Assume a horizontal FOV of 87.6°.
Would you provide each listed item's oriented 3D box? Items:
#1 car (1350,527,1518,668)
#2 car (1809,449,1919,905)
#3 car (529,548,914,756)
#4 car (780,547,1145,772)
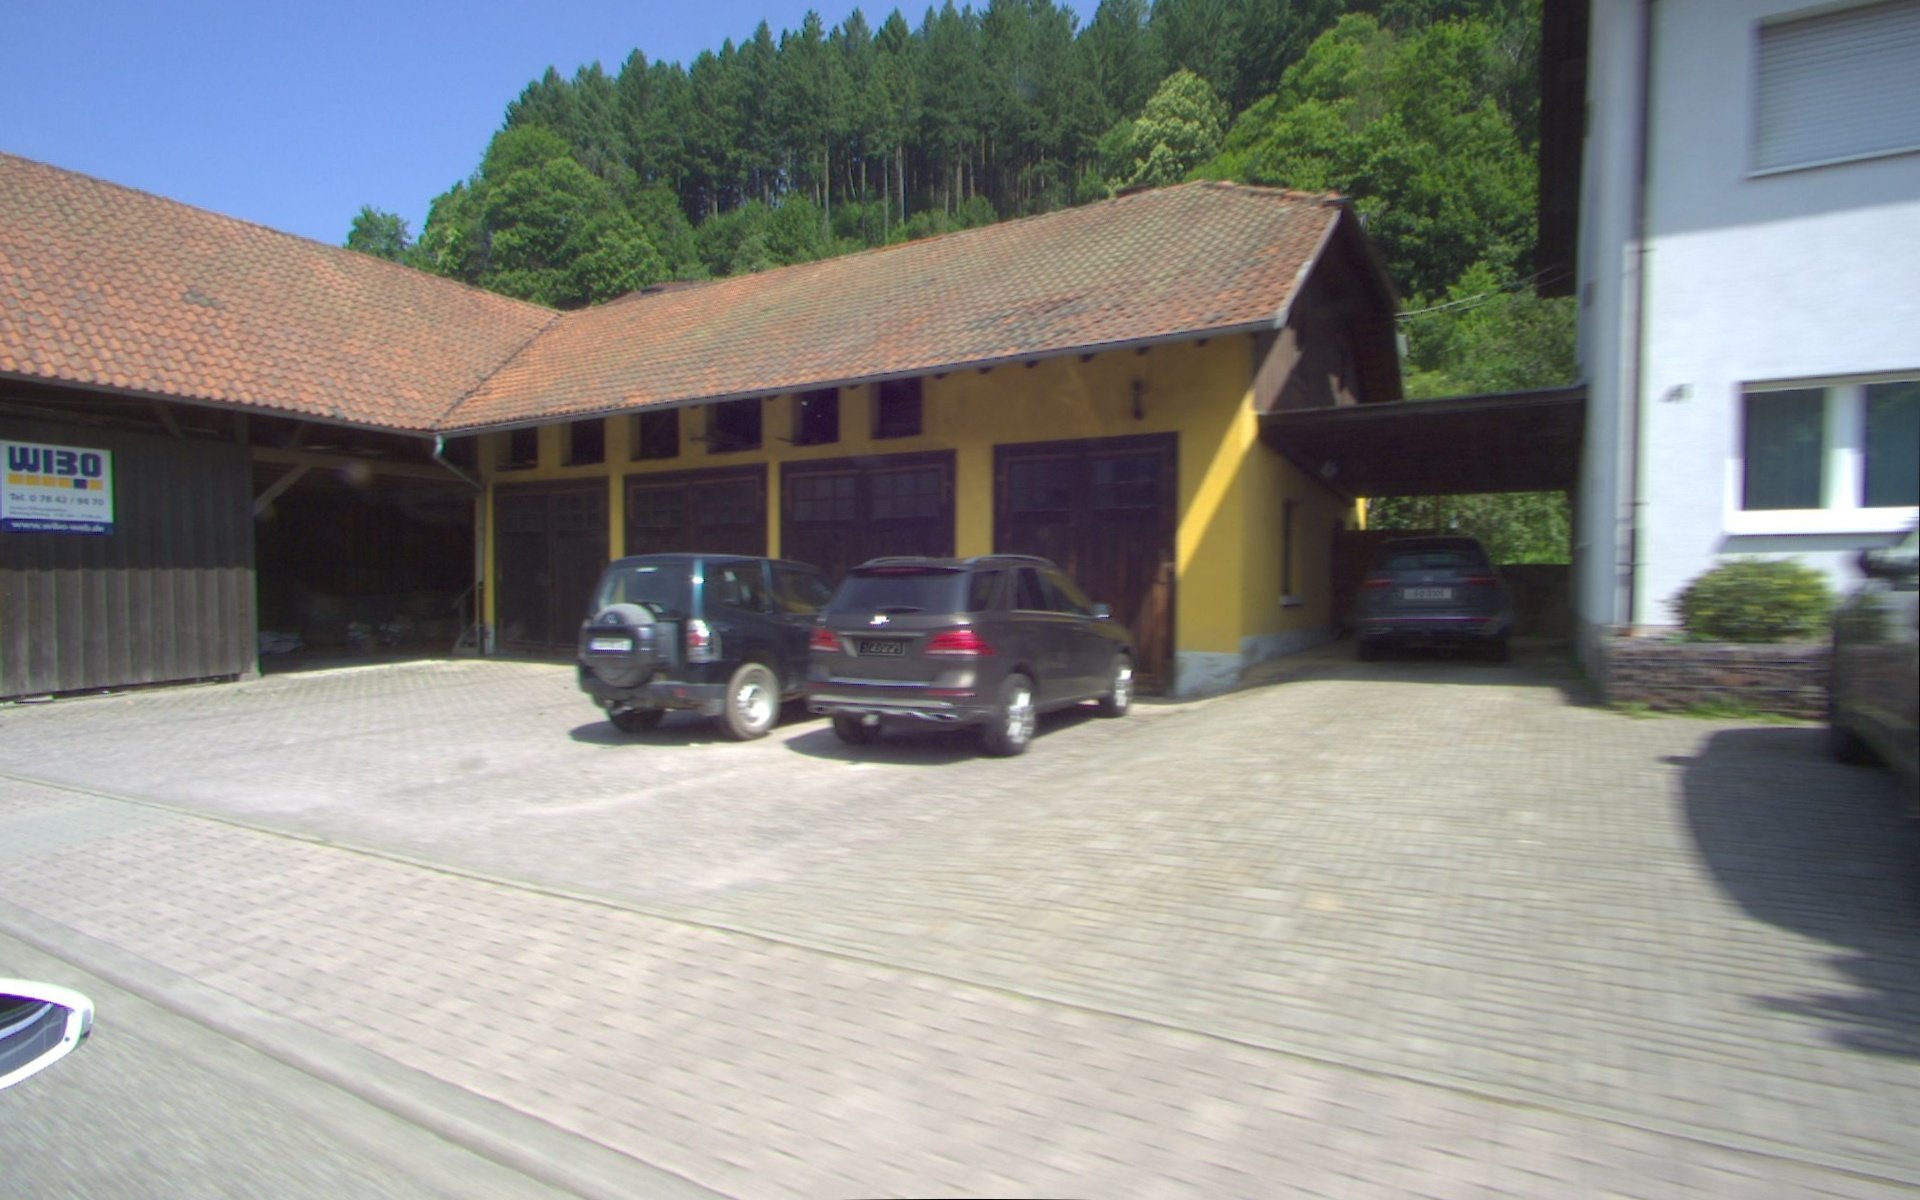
[{"bbox_3d":[6.699,-0.064,13.975,1.842,1.666,3.981,-1,1,29],"label":"car"},{"bbox_3d":[4.936,0.187,4.139,1.753,1.711,4.204,0,5,35],"label":"car"},{"bbox_3d":[-2.397,0.429,11.190,1.924,1.857,4.121,-1,1,28],"label":"car"},{"bbox_3d":[0.301,0.438,10.348,1.922,1.783,4.414,-1,1,28],"label":"car"}]
